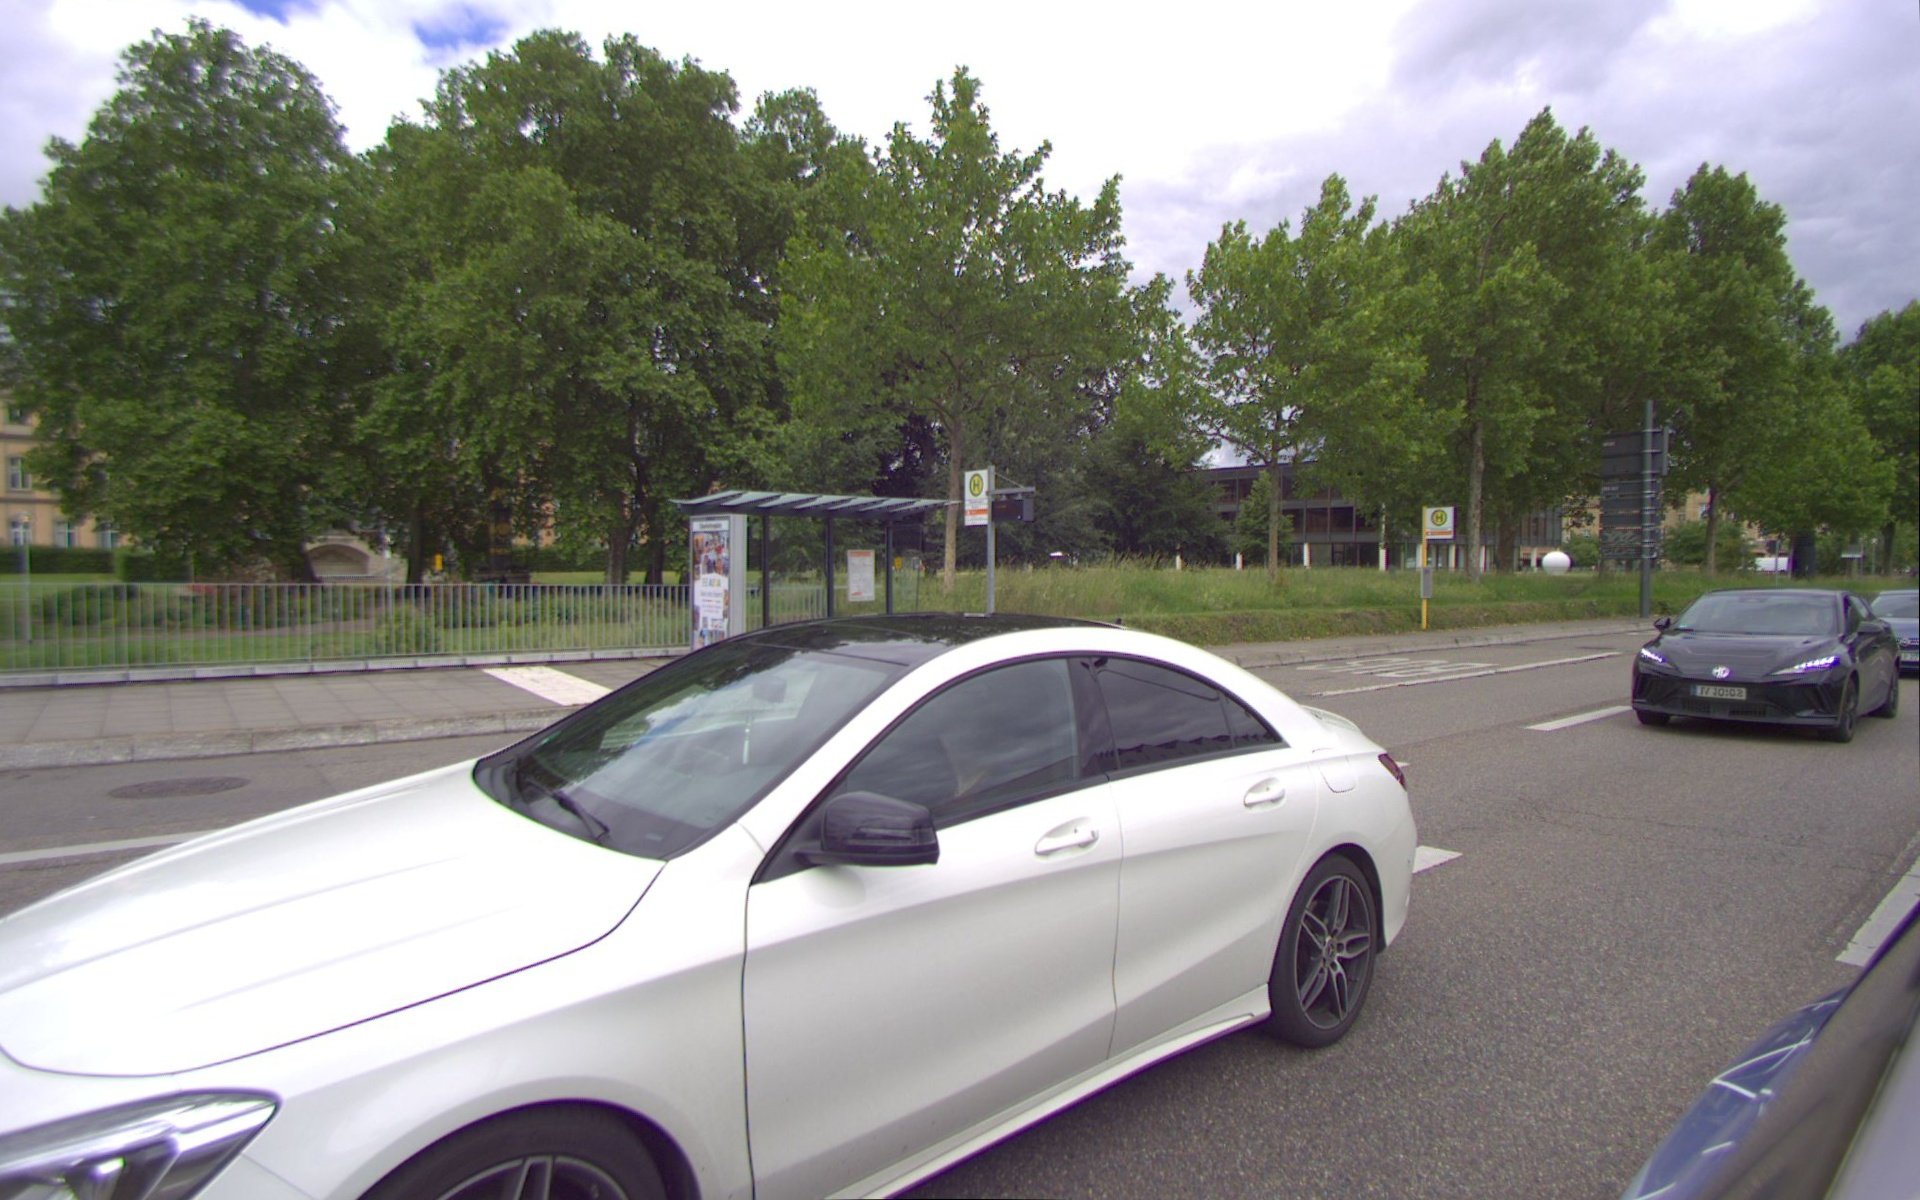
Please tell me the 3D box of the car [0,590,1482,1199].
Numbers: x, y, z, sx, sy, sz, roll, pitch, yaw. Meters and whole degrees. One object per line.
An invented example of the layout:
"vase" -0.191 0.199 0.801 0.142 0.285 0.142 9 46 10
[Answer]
"car" -0.262 0.729 3.208 4.446 1.437 1.799 -1 2 -39

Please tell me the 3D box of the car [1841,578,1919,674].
"car" 16.288 0.374 16.869 3.944 1.452 1.804 -1 2 -40

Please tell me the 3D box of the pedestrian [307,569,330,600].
"pedestrian" -42.930 -1.029 67.736 1.098 2.039 0.932 -1 0 34

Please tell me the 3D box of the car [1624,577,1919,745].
"car" 9.122 0.514 11.241 4.020 1.508 1.852 -1 2 -40

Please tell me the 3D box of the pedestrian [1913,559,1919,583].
"pedestrian" 82.616 -2.484 86.931 1.160 2.039 0.891 -2 0 -40
